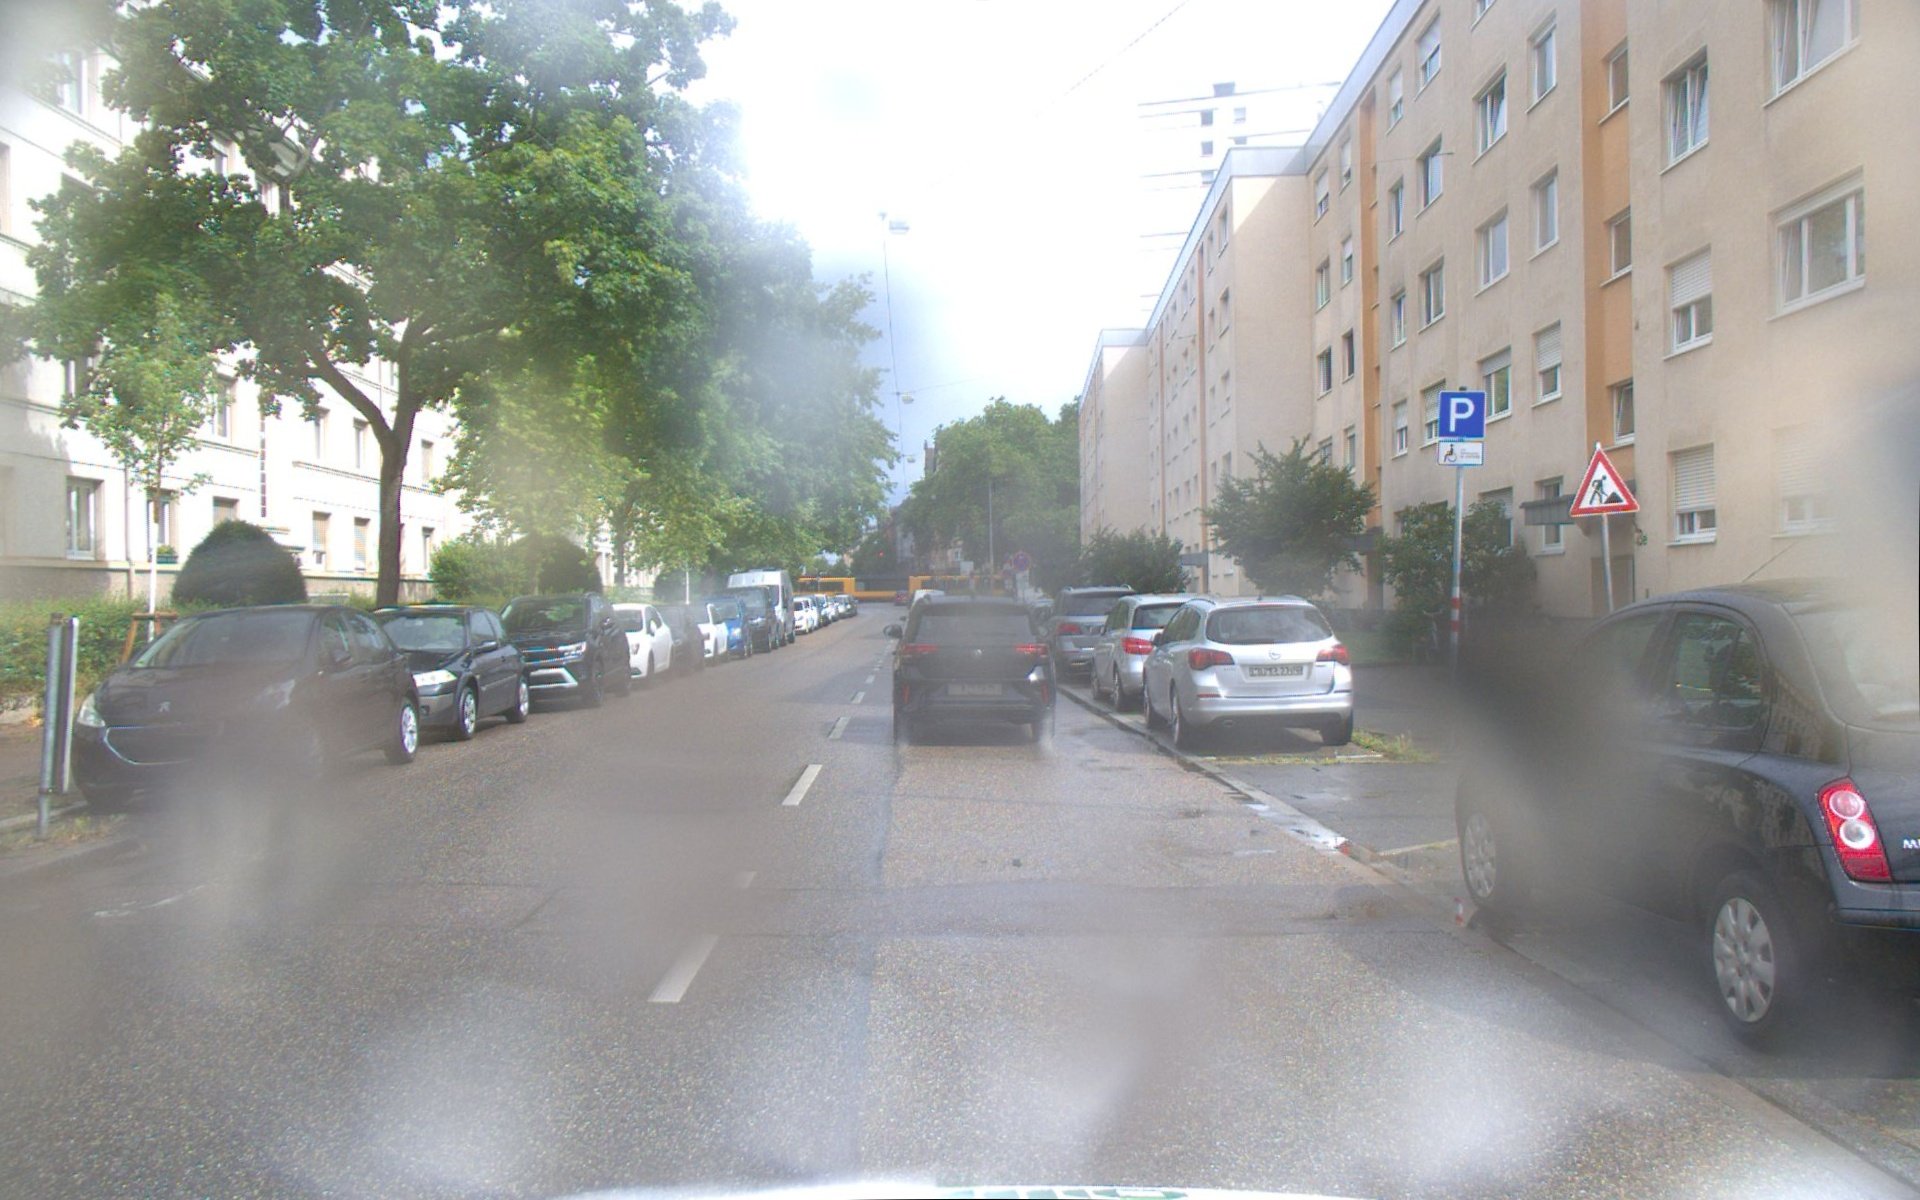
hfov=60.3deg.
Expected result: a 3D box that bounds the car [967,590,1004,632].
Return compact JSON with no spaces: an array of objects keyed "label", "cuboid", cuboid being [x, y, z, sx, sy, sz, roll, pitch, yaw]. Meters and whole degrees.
[{"label":"car","cuboid":[1.191,0.500,77.799,1.631,1.870,4.000,-2,0,0]}]

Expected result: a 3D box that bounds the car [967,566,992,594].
[{"label":"car","cuboid":[1.334,-1.401,115.550,1.631,1.870,4.000,-2,0,0]}]

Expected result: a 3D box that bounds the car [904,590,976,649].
[{"label":"car","cuboid":[-0.518,0.535,45.820,1.775,1.529,4.001,1,-1,2]}]

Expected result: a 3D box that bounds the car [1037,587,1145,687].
[{"label":"car","cuboid":[2.409,0.650,31.275,1.572,1.701,4.031,-2,0,-2]}]

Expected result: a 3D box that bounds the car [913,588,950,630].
[{"label":"car","cuboid":[-1.475,0.498,88.061,1.798,2.140,4.000,1,-1,1]}]

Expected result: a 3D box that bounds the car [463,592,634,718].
[{"label":"car","cuboid":[-5.816,0.725,23.803,1.554,1.603,4.012,-2,0,-2]}]

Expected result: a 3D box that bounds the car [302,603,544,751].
[{"label":"car","cuboid":[-6.023,0.792,19.025,1.554,1.442,4.051,-2,0,-2]}]

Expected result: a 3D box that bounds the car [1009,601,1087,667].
[{"label":"car","cuboid":[2.161,0.811,41.480,1.572,1.532,4.031,-2,0,-2]}]

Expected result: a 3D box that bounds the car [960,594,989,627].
[{"label":"car","cuboid":[0.828,0.580,97.049,1.631,1.870,4.000,-2,0,0]}]

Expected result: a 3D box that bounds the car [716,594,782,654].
[{"label":"car","cuboid":[-6.280,0.694,49.543,1.554,1.668,3.918,-2,0,-2]}]

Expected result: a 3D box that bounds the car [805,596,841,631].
[{"label":"car","cuboid":[-6.894,0.673,83.580,1.554,1.668,3.918,-2,0,-2]}]

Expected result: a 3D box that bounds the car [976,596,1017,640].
[{"label":"car","cuboid":[1.573,0.762,72.261,1.572,1.796,4.031,-2,0,-2]}]

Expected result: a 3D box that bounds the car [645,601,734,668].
[{"label":"car","cuboid":[-6.351,0.768,39.152,1.554,1.442,3.918,-2,0,-2]}]

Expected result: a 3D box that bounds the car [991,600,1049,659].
[{"label":"car","cuboid":[1.933,0.921,54.288,1.572,1.796,4.031,-2,0,-2]}]

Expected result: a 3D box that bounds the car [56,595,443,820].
[{"label":"car","cuboid":[-5.671,0.761,13.769,1.554,1.532,4.063,-2,0,-2]}]

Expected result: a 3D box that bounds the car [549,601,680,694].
[{"label":"car","cuboid":[-5.950,0.776,28.890,1.554,1.442,3.918,-2,0,-2]}]

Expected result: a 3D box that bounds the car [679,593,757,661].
[{"label":"car","cuboid":[-6.340,0.678,43.620,1.554,1.668,3.918,-2,0,-2]}]

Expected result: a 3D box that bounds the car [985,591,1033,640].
[{"label":"car","cuboid":[1.884,0.588,64.741,1.572,1.796,4.031,-2,0,-2]}]

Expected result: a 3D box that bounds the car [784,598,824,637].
[{"label":"car","cuboid":[-7.061,0.774,75.034,1.554,1.668,3.918,-2,0,-2]}]

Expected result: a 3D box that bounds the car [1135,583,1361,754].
[{"label":"car","cuboid":[2.954,0.648,17.754,1.661,1.565,4.032,-2,0,0]}]

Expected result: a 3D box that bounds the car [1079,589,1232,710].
[{"label":"car","cuboid":[2.723,0.650,23.762,1.572,1.532,4.031,-2,0,-2]}]

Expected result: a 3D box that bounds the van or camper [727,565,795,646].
[{"label":"van or camper","cuboid":[-6.638,0.186,55.648,1.766,2.537,5.018,-2,0,-2]}]

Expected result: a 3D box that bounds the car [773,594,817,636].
[{"label":"car","cuboid":[-6.933,0.624,69.829,1.554,1.668,3.918,-2,0,-2]}]

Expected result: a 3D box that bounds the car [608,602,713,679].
[{"label":"car","cuboid":[-6.151,0.791,34.353,1.554,1.442,3.918,-2,0,-2]}]

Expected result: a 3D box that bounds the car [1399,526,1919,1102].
[{"label":"car","cuboid":[3.226,0.616,6.900,1.572,1.690,4.030,1,0,-2]}]

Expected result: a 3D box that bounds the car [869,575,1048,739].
[{"label":"car","cuboid":[0.059,0.578,19.197,1.834,1.674,4.063,1,0,2]}]
